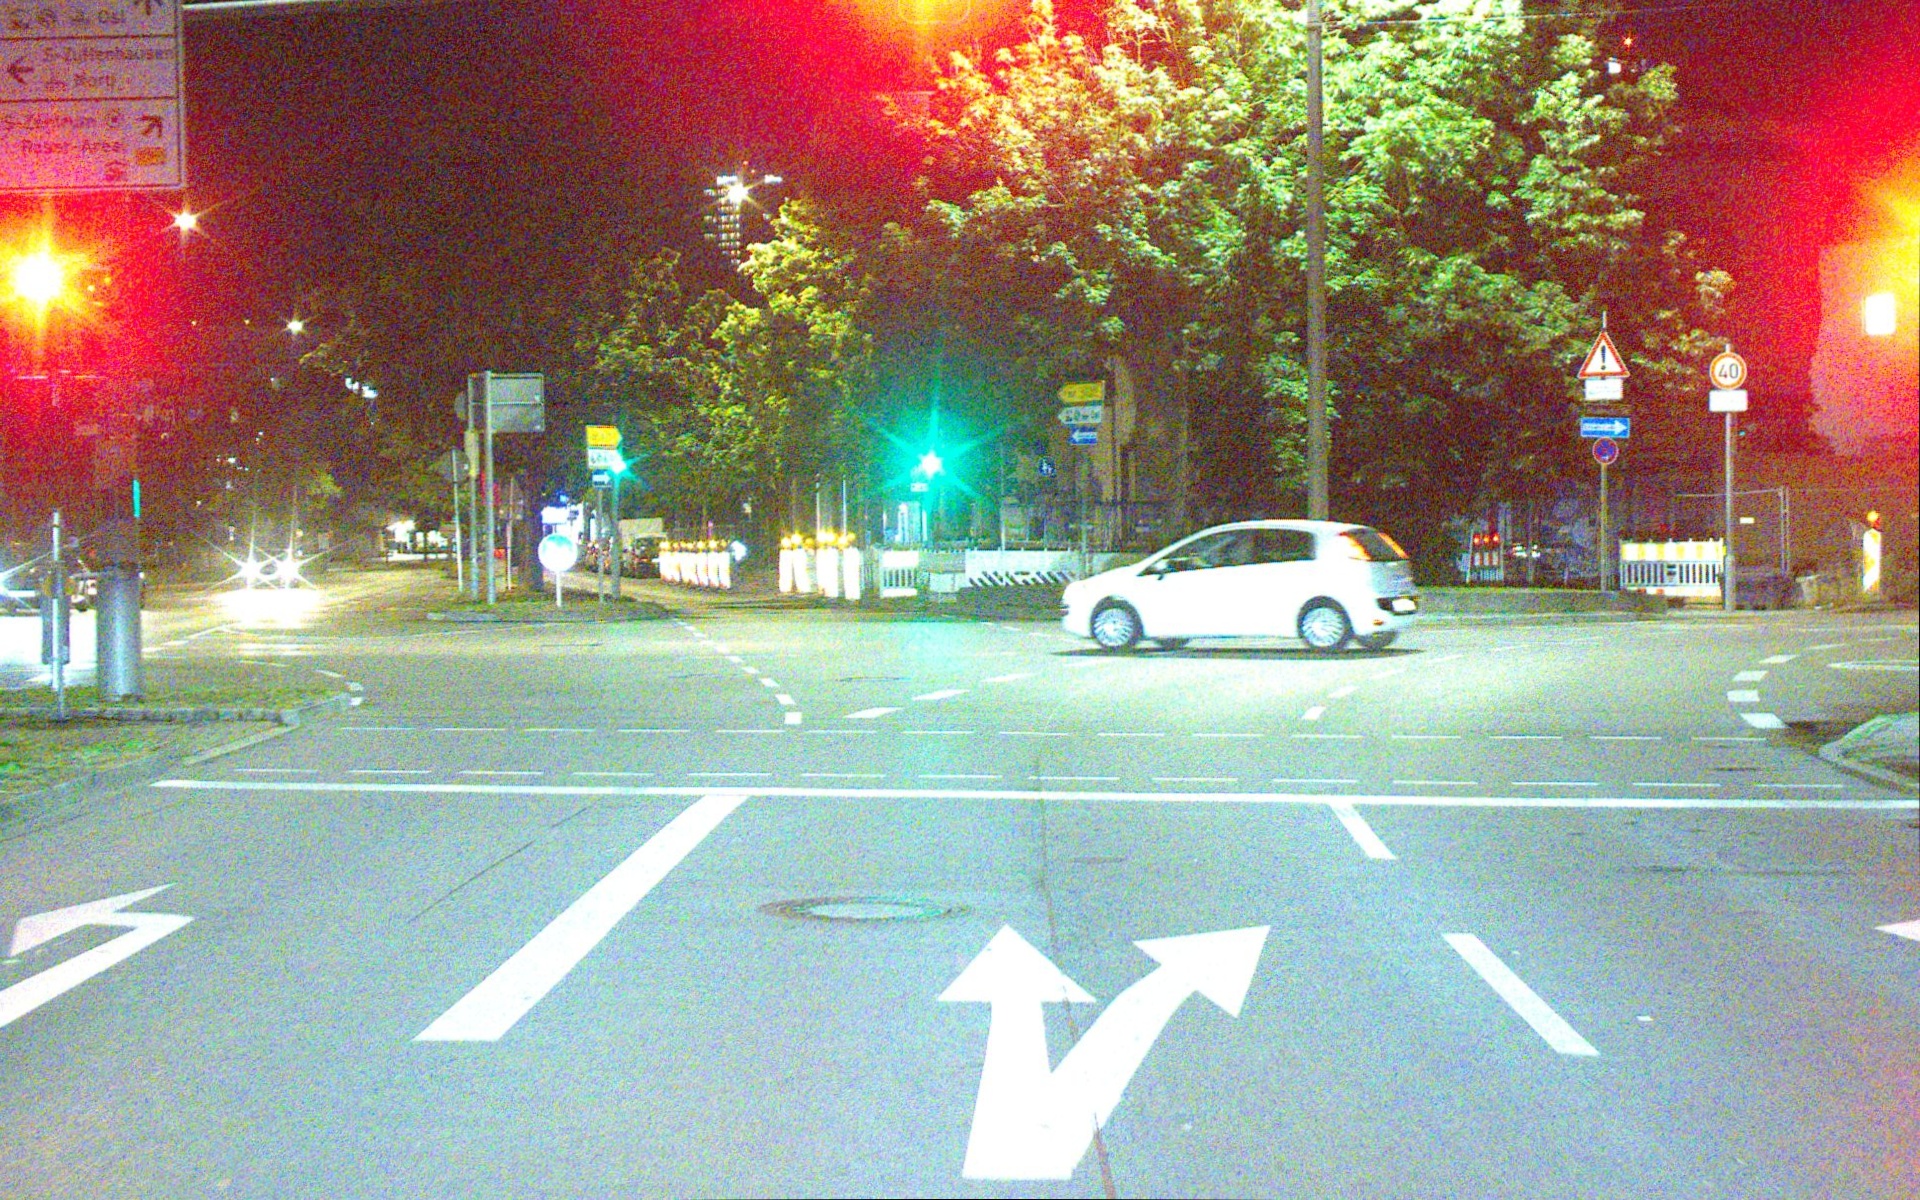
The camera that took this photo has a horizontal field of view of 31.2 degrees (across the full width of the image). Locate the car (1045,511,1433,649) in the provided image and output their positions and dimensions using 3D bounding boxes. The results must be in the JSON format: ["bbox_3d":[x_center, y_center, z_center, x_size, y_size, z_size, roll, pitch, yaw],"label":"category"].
[{"bbox_3d":[3.135,-0.221,38.700,3.993,1.486,1.706,0,1,27],"label":"car"}]

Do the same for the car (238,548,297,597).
[{"bbox_3d":[-25.129,-1.003,124.788,1.757,1.722,3.548,-1,1,-6],"label":"car"}]

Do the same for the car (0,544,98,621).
[{"bbox_3d":[-18.762,-0.361,70.302,1.615,1.509,4.001,-1,1,-6],"label":"car"}]

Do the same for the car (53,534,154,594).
[{"bbox_3d":[-19.351,-0.804,77.781,1.757,1.317,3.548,-1,1,-6],"label":"car"}]
